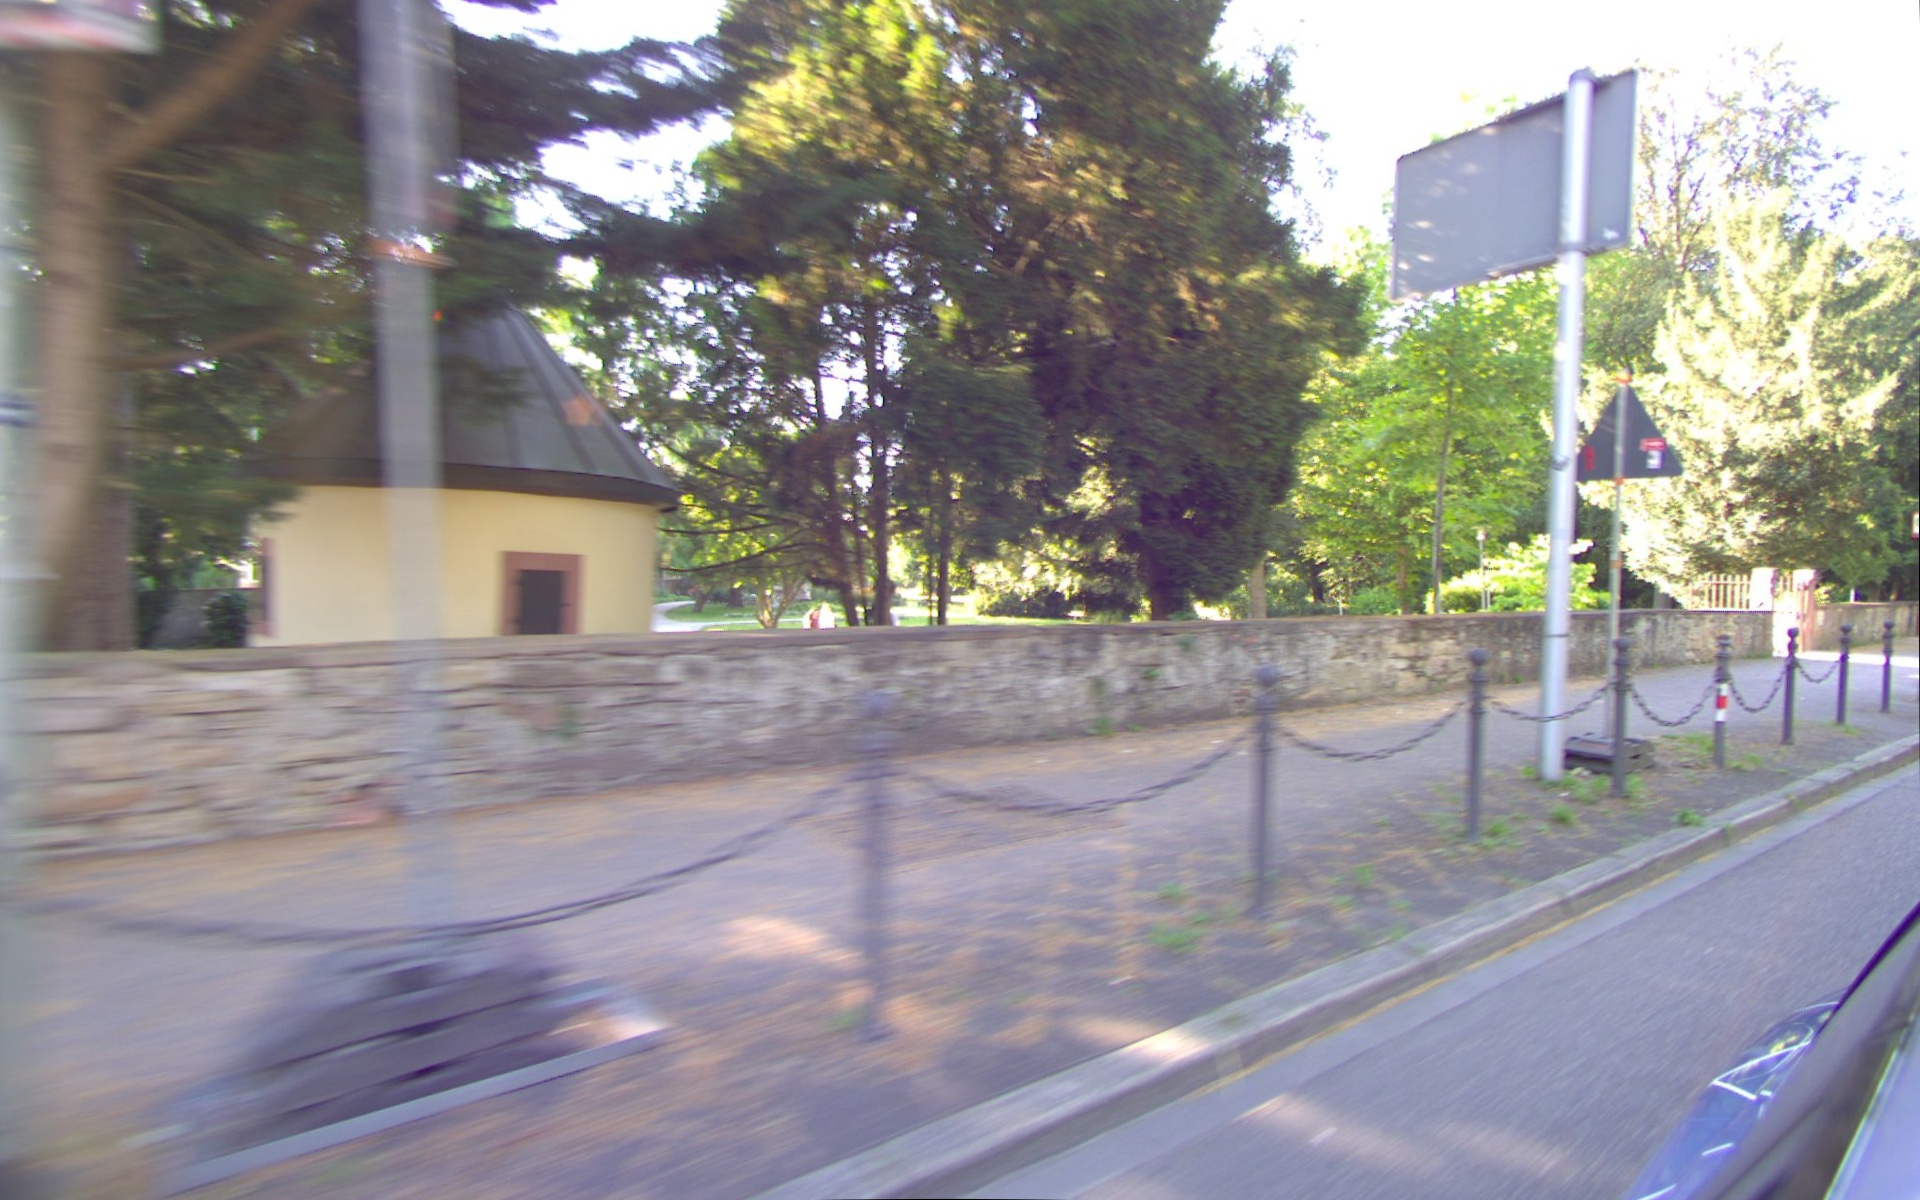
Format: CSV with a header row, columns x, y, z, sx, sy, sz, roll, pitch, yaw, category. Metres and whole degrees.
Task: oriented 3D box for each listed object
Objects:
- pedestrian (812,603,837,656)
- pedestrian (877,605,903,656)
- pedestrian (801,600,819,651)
x,y,z,sx,sy,sz,roll,pitch,yaw,category
-4.587,0.987,34.289,0.587,1.751,0.591,-1,-1,-37,pedestrian
-2.303,0.994,33.278,0.624,1.661,0.616,-1,0,-36,pedestrian
-4.987,0.833,33.555,0.554,1.638,0.762,-1,0,-10,pedestrian
